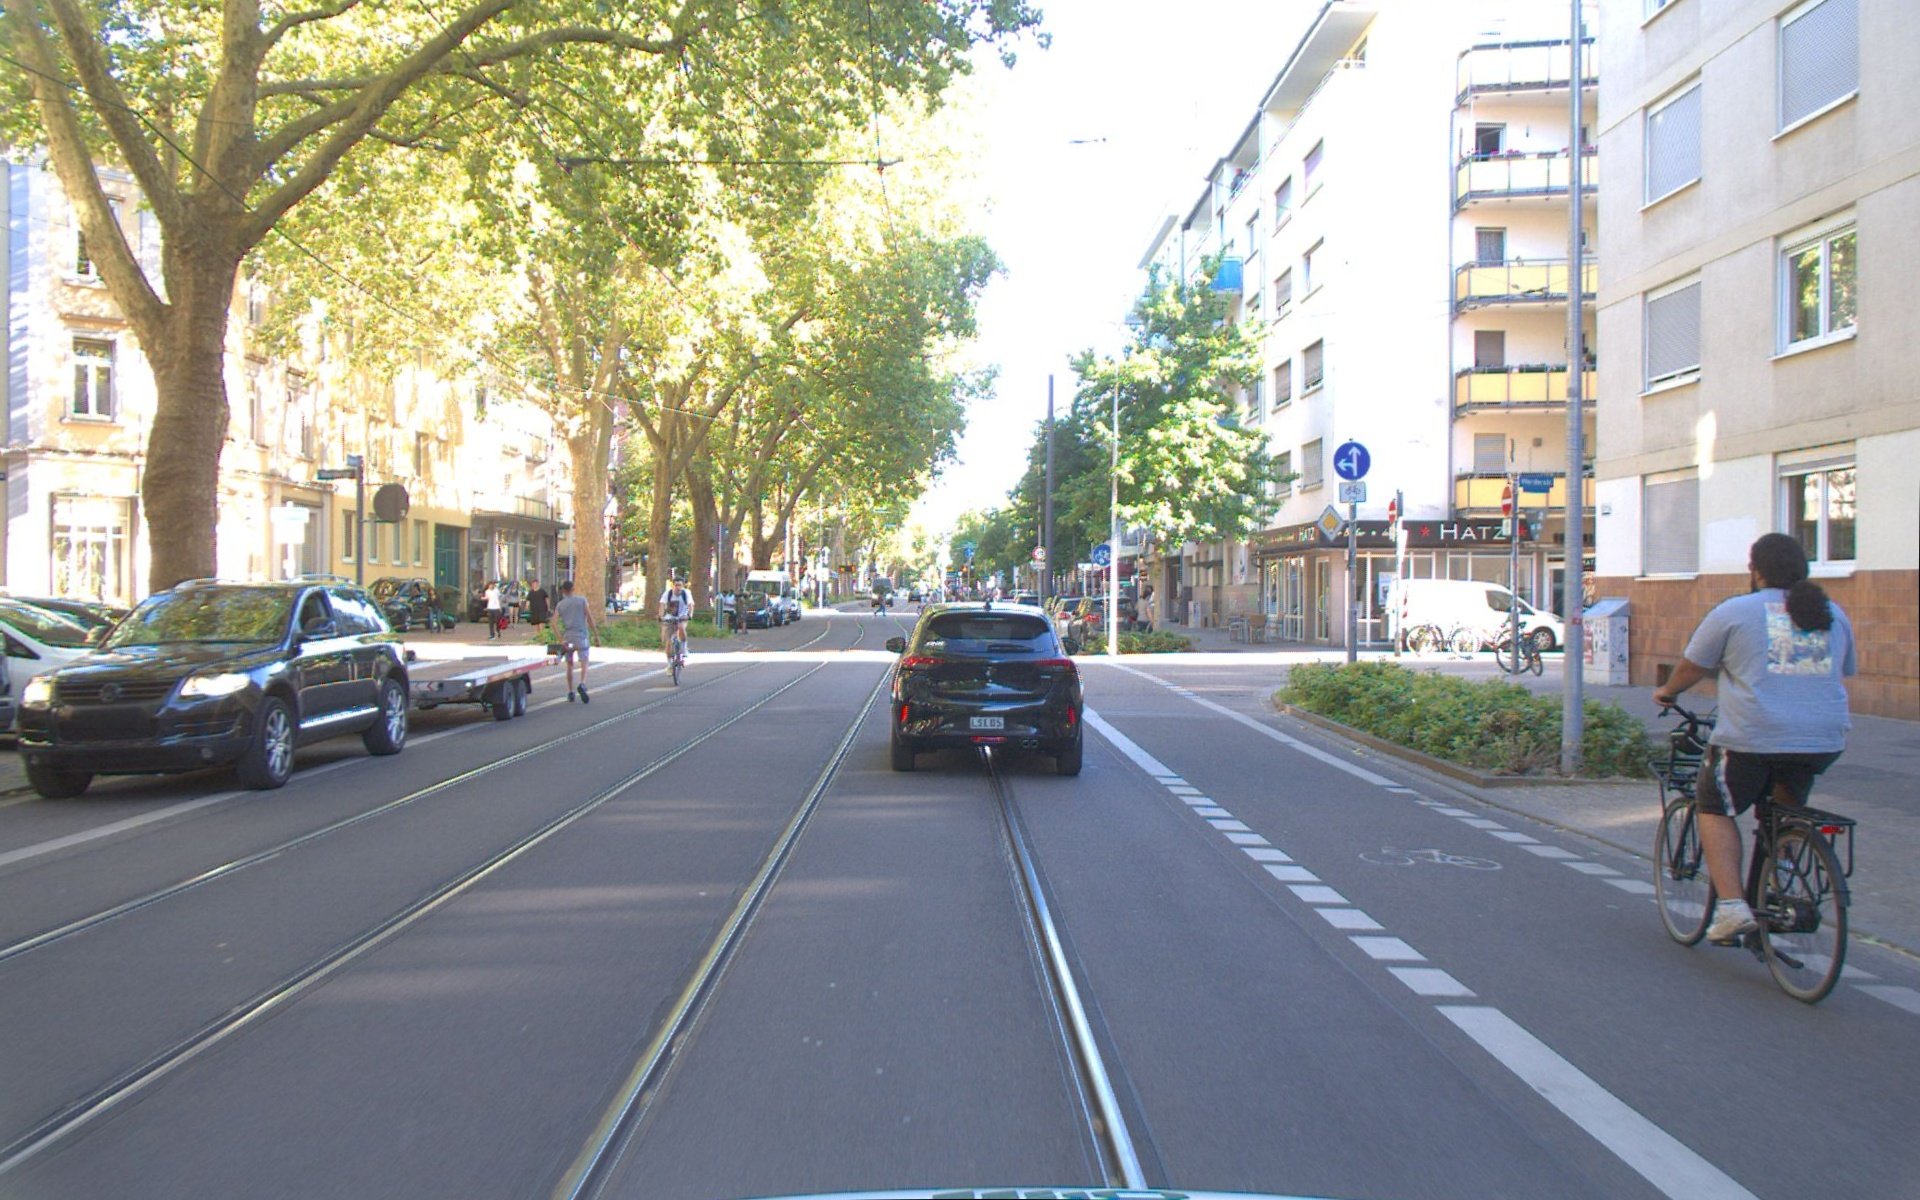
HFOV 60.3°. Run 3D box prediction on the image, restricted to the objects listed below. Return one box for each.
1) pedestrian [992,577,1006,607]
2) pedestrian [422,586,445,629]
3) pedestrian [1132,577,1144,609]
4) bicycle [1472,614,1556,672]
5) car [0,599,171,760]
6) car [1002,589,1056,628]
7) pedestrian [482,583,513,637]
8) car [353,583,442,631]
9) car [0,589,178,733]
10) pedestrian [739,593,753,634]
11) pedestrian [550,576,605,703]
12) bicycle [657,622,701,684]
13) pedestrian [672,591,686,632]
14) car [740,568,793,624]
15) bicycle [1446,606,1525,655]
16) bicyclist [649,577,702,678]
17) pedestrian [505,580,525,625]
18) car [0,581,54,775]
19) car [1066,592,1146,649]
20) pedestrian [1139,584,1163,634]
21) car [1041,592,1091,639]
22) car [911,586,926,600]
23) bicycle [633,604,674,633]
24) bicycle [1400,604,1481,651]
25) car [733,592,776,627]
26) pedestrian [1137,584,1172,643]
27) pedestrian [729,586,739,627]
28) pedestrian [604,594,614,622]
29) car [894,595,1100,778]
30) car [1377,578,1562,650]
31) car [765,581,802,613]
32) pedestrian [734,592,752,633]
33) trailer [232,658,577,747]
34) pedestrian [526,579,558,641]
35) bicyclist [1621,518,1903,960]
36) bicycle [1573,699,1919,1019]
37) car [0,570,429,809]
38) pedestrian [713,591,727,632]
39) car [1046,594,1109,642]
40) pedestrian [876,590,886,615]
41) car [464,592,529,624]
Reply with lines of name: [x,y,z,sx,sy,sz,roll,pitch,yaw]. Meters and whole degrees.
pedestrian: [2.757,-0.570,117.745,0.839,2.048,1.069,-4,-1,0]
pedestrian: [-17.669,0.254,55.526,0.540,1.427,0.649,0,0,3]
pedestrian: [9.675,-0.384,89.762,0.616,1.763,0.632,0,0,5]
bicycle: [10.615,0.805,31.762,0.787,1.033,1.966,-1,0,-6]
car: [-10.433,0.766,16.863,3.907,1.548,1.770,0,0,-2]
car: [3.031,0.346,73.296,1.954,1.668,3.996,0,0,-5]
pedestrian: [-14.356,0.304,51.382,0.830,1.661,0.643,0,0,-7]
car: [-19.224,0.229,56.693,1.647,1.543,4.000,1,0,0]
car: [-11.001,0.661,18.820,3.363,1.557,1.786,0,0,-4]
pedestrian: [-8.455,0.531,65.218,0.496,1.610,0.526,0,0,-2]
pedestrian: [-5.502,0.546,23.739,0.699,1.765,0.909,-2,0,-15]
bicycle: [-4.811,0.896,28.385,0.510,0.979,1.928,0,0,-2]
pedestrian: [-11.111,0.443,65.350,0.498,1.610,0.525,0,0,-14]
car: [-9.446,-0.195,81.156,2.050,2.629,5.995,0,0,-1]
bicycle: [12.509,0.722,39.426,1.734,1.136,0.614,0,0,12]
bicyclist: [-4.867,0.459,28.348,0.768,1.707,0.957,0,0,-2]
pedestrian: [-16.685,0.086,62.069,0.540,1.681,0.649,0,0,3]
car: [-10.265,0.673,14.194,3.907,1.676,1.893,0,0,-2]
car: [4.281,0.581,48.987,1.684,1.601,4.081,0,0,-5]
pedestrian: [6.867,0.329,59.541,0.776,1.779,0.770,0,0,1]
car: [3.751,0.533,58.674,1.617,1.601,3.084,0,0,1]
car: [-5.003,-0.827,200.546,1.714,1.680,4.000,0,0,1]
bicycle: [-12.073,0.716,65.099,1.659,1.080,0.452,2,-1,29]
bicycle: [11.768,0.672,40.566,1.797,1.136,0.703,0,0,2]
car: [-9.260,0.405,74.825,1.719,1.534,3.997,0,0,-4]
pedestrian: [5.482,0.385,46.641,0.837,1.645,0.771,0,0,18]
pedestrian: [-8.923,0.242,65.287,0.339,1.610,0.508,0,0,-3]
pedestrian: [-20.303,0.482,95.716,0.497,1.610,0.526,0,0,-4]
car: [0.268,0.703,15.312,1.646,1.447,3.627,2,0,-1]
car: [13.441,0.348,43.772,4.273,1.863,1.998,0,0,-5]
car: [-9.831,-0.198,92.135,1.955,1.747,3.995,0,0,-6]
pedestrian: [-8.629,0.494,65.906,0.670,1.610,0.557,0,0,-3]
trailer: [-6.399,1.151,20.046,2.117,0.643,6.399,0,0,-1]
pedestrian: [-13.082,0.308,51.799,0.887,1.901,0.643,0,0,-7]
bicyclist: [3.443,0.565,7.178,0.770,1.790,0.914,0,0,-1]
bicycle: [3.486,1.063,7.394,0.687,1.111,1.989,2,0,-1]
car: [-6.383,0.659,14.606,1.953,1.729,4.484,-2,0,-1]
pedestrian: [-9.452,0.432,65.194,0.497,1.610,0.526,0,0,-5]
car: [3.836,0.578,54.517,1.683,1.516,3.680,0,0,-2]
pedestrian: [-4.976,0.152,104.086,0.583,1.618,0.892,0,0,-8]
car: [-19.381,0.318,69.299,1.661,1.298,3.827,0,1,-1]
